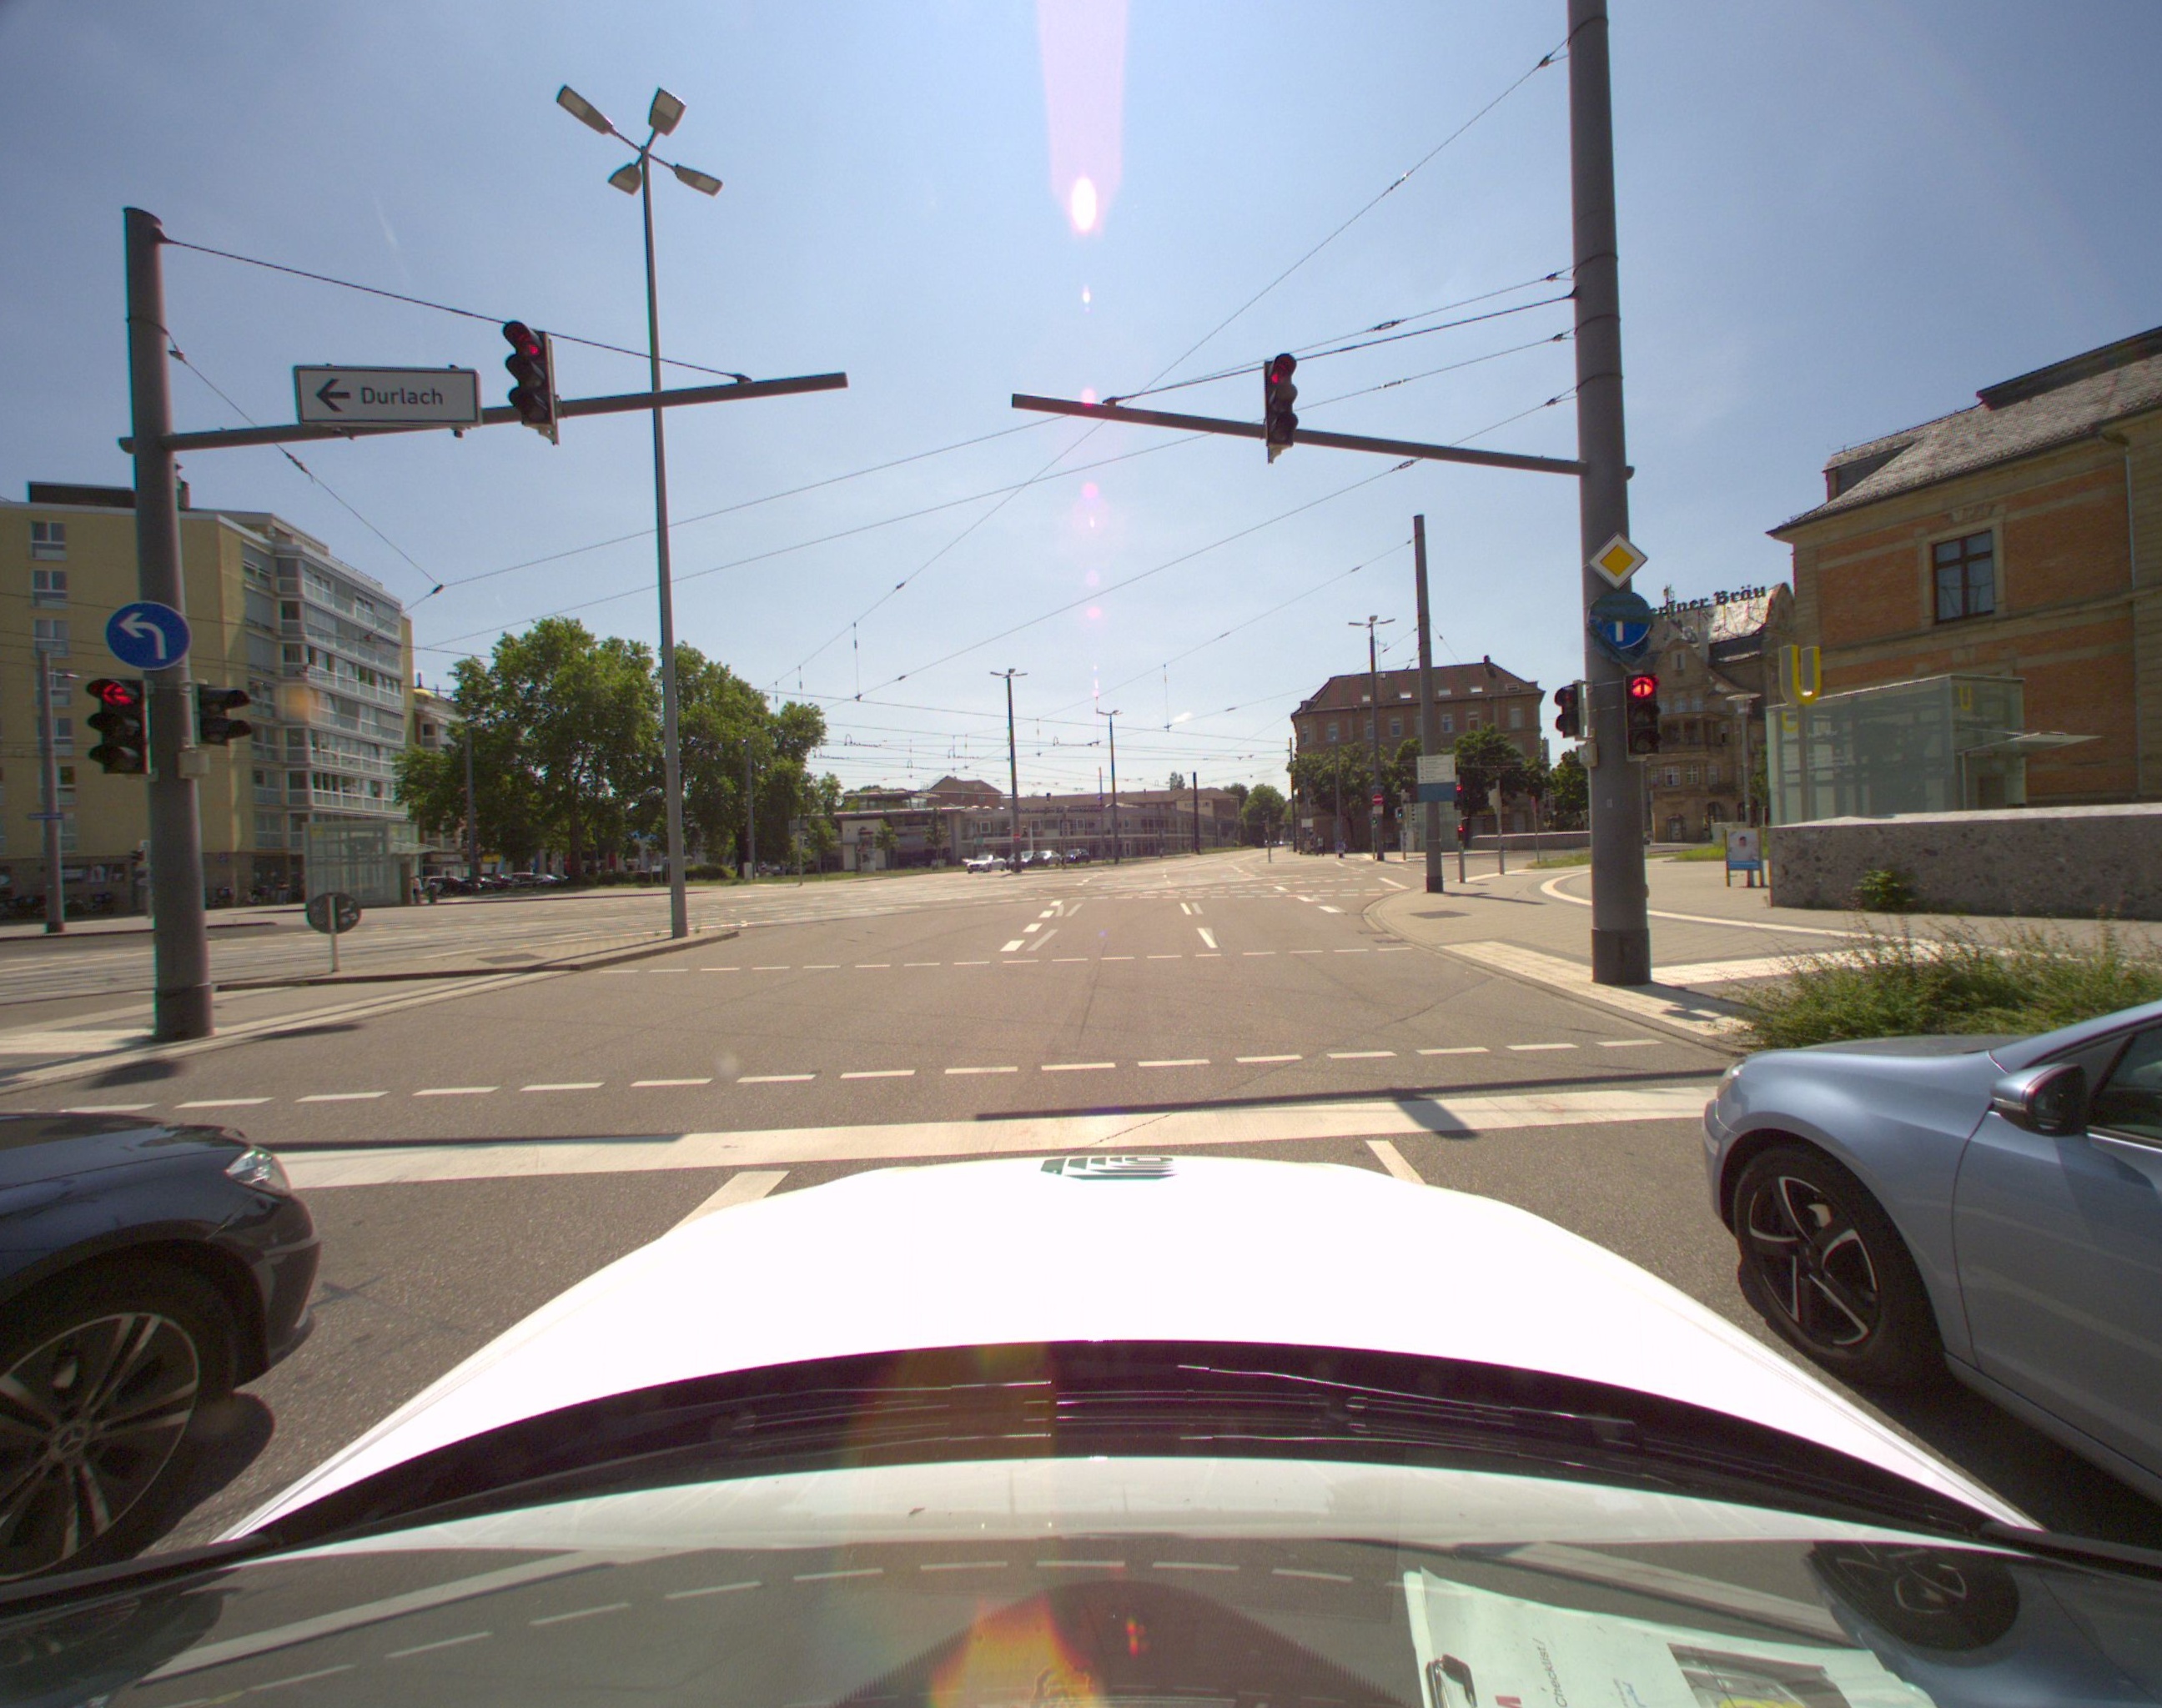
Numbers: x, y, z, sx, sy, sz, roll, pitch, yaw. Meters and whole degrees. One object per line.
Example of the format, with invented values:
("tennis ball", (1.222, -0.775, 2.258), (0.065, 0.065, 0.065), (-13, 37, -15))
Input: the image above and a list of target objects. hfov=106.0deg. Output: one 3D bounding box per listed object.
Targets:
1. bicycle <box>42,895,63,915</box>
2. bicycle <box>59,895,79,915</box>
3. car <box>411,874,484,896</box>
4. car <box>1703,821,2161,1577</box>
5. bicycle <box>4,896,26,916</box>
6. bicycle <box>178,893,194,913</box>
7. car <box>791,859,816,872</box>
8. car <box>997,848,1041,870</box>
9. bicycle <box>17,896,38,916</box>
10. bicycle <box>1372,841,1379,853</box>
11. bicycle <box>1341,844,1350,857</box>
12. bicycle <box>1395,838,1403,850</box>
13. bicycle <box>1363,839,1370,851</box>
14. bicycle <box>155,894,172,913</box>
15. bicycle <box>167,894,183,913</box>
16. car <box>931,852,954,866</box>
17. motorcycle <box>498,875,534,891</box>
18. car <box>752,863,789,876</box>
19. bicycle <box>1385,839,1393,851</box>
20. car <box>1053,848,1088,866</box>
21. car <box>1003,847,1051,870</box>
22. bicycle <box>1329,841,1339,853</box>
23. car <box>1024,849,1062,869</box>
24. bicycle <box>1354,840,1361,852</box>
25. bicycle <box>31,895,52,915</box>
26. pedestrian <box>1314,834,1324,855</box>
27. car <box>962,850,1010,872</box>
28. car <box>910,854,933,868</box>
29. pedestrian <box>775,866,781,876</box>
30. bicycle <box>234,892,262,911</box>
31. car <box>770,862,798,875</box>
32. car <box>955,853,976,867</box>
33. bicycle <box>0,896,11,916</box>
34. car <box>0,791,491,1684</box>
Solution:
("bicycle", (-56.408, 2.806, 44.675), (0.435, 1.026, 1.426), (-2, 0, -42))
("bicycle", (-55.910, 2.806, 44.995), (0.435, 1.026, 1.426), (-2, 0, -42))
("car", (-49.202, 2.372, 63.374), (4.000, 1.420, 1.987), (-2, 0, -19))
("car", (2.856, 0.659, 0.760), (1.644, 1.459, 4.007), (-1, 0, 3))
("bicycle", (-57.858, 2.812, 44.206), (0.435, 1.026, 1.426), (-2, 0, -42))
("bicycle", (-50.801, 2.780, 46.231), (0.435, 1.026, 1.426), (-2, 0, -42))
("car", (-34.775, 1.472, 102.235), (1.763, 1.510, 4.322), (-2, 0, -3))
("car", (-5.321, 0.419, 70.624), (1.977, 1.700, 4.870), (-2, 0, 19))
("bicycle", (-57.402, 2.810, 44.365), (0.435, 1.026, 1.426), (-2, 0, -42))
("bicycle", (28.154, -0.658, 77.882), (0.546, 1.120, 1.898), (-2, 0, 18))
("bicycle", (25.615, -0.331, 78.933), (0.440, 1.146, 2.099), (-1, -1, 9))
("bicycle", (30.502, -0.940, 78.183), (0.546, 1.120, 1.938), (-2, 0, 18))
("bicycle", (27.363, -0.884, 78.047), (0.546, 1.119, 1.829), (-2, 0, 18))
("bicycle", (-51.688, 2.783, 45.874), (0.435, 1.026, 1.426), (-2, 0, -42))
("bicycle", (-51.223, 2.781, 46.043), (0.435, 1.026, 1.426), (-2, 0, -42))
("car", (-17.084, 0.609, 100.657), (1.913, 1.707, 4.002), (0, -1, 2))
("motorcycle", (-38.629, 1.976, 55.729), (1.925, 0.961, 0.521), (-2, 0, -29))
("car", (-41.336, 2.001, 108.407), (4.343, 1.510, 1.754), (-3, 0, -33))
("bicycle", (29.592, -0.903, 78.199), (0.546, 1.120, 1.879), (-2, 0, 18))
("car", (-1.017, 0.295, 84.180), (2.061, 1.682, 4.870), (-2, 0, 19))
("car", (-4.232, 0.356, 64.766), (1.977, 1.637, 4.870), (-2, 0, 19))
("bicycle", (24.374, -0.634, 78.484), (0.548, 1.120, 1.823), (-2, 0, 6))
("car", (-3.509, 0.438, 76.528), (1.977, 1.739, 4.565), (-2, 0, 19))
("bicycle", (26.590, -0.744, 78.323), (0.547, 1.120, 1.828), (-2, 0, 15))
("bicycle", (-56.914, 2.809, 44.601), (0.435, 1.026, 1.426), (-2, 0, -42))
("pedestrian", (20.078, -0.792, 68.823), (0.463, 1.708, 0.635), (-2, 0, -23))
("car", (-7.478, 0.521, 64.531), (2.061, 1.580, 4.866), (-2, 0, 15))
("car", (-19.717, 0.826, 100.707), (1.913, 1.707, 4.002), (0, -1, 2))
("pedestrian", (-36.754, 2.024, 98.783), (0.510, 1.204, 0.446), (-2, 0, 7))
("bicycle", (-49.273, 2.788, 48.205), (0.432, 1.026, 1.437), (-2, 0, -14))
("car", (-37.463, 1.835, 102.825), (1.760, 1.510, 4.330), (-2, 0, 3))
("car", (-14.294, 0.789, 101.013), (1.913, 1.707, 4.002), (0, -1, 2))
("bicycle", (-58.457, 2.815, 44.055), (0.435, 1.026, 1.426), (-2, 0, -42))
("car", (-2.946, 0.721, 0.289), (1.790, 1.640, 4.808), (-1, 0, 3))
